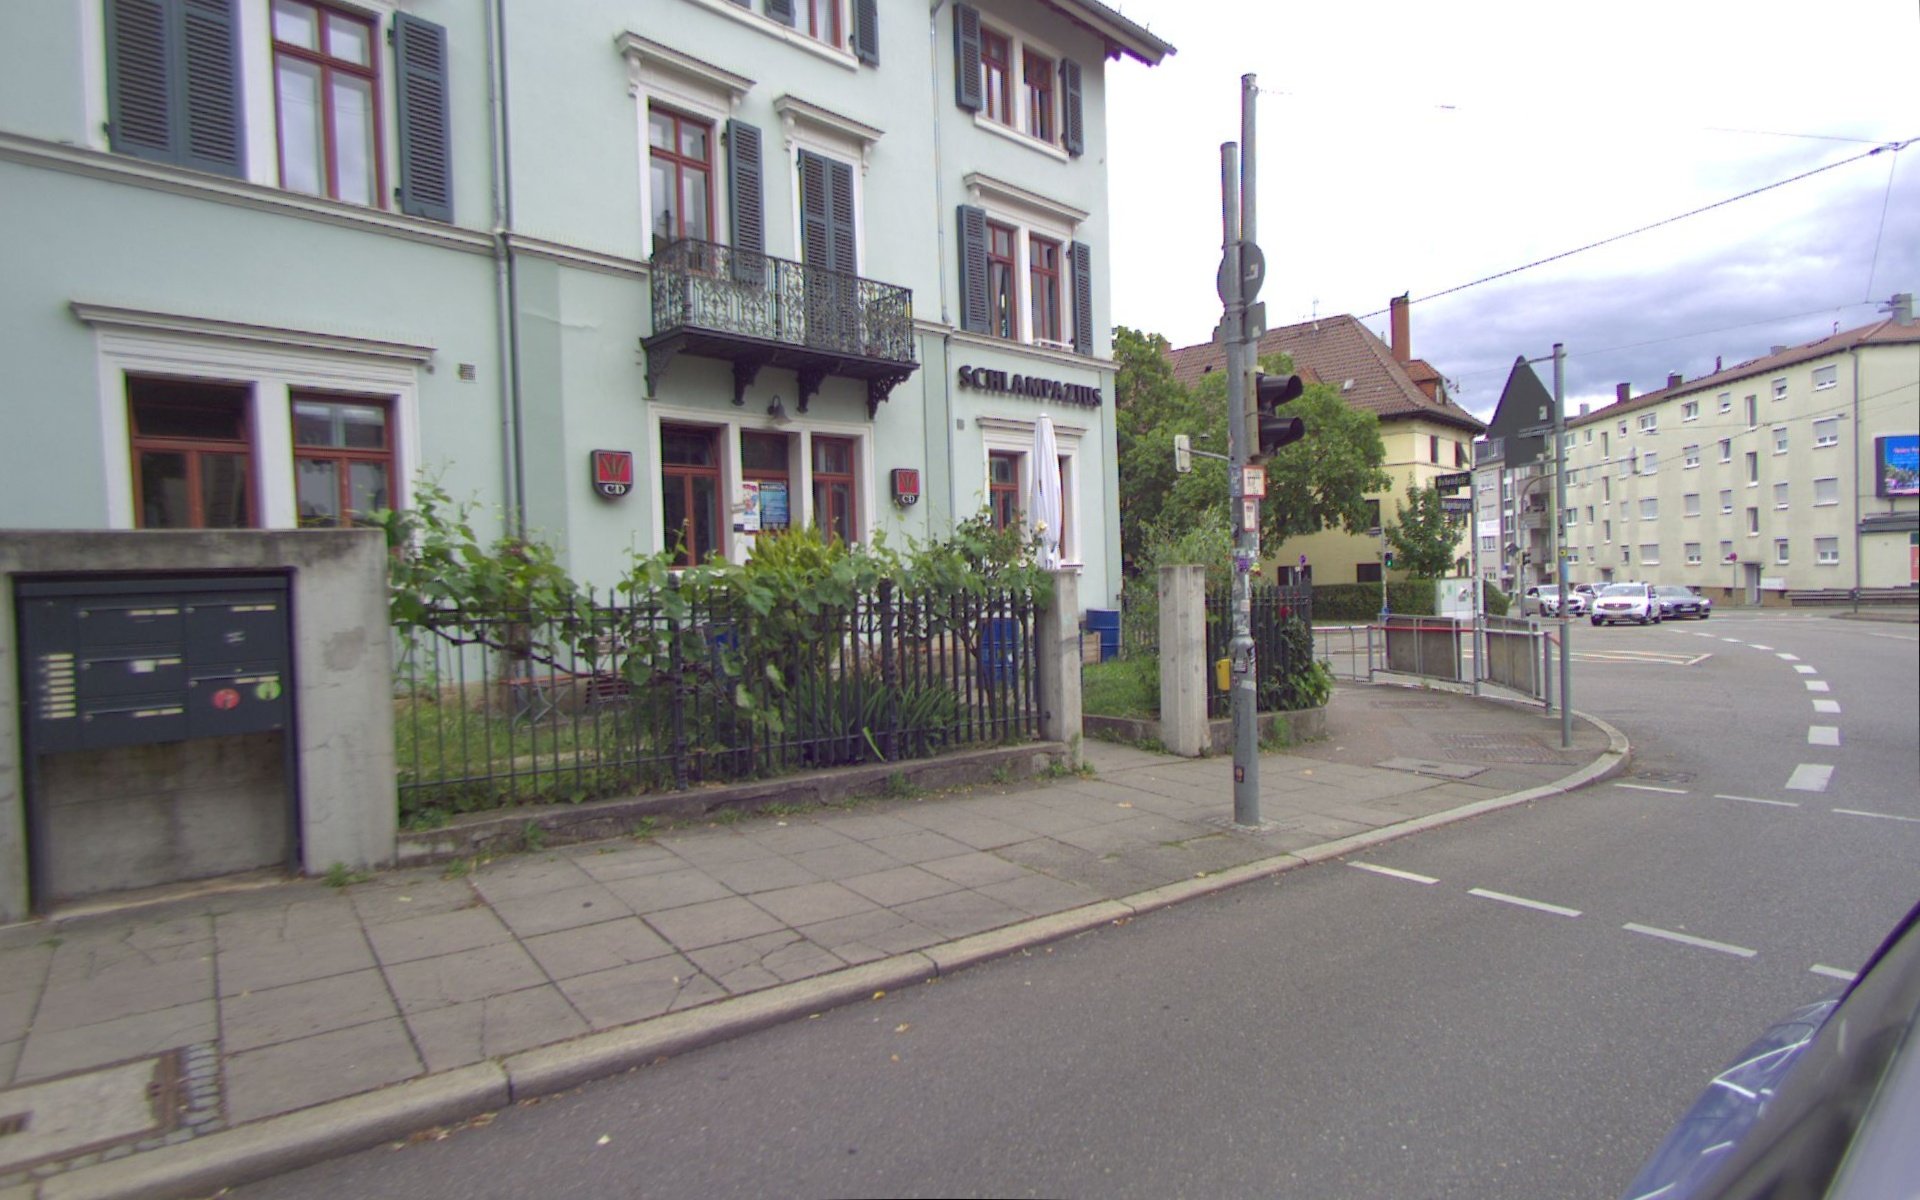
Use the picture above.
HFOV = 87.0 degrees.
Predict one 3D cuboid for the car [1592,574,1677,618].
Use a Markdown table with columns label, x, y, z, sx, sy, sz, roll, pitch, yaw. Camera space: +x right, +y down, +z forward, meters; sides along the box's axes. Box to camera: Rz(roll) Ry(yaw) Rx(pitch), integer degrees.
| label | x | y | z | sx | sy | sz | roll | pitch | yaw |
| --- | --- | --- | --- | --- | --- | --- | --- | --- | --- |
| car | 24.446 | -0.136 | 36.646 | 1.903 | 1.498 | 3.826 | -1 | -1 | 44 |

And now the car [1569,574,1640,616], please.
| label | x | y | z | sx | sy | sz | roll | pitch | yaw |
| --- | --- | --- | --- | --- | --- | --- | --- | --- | --- |
| car | 34.615 | -0.299 | 54.465 | 1.971 | 2.039 | 4.250 | -2 | 1 | 15 |

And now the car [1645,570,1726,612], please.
| label | x | y | z | sx | sy | sz | roll | pitch | yaw |
| --- | --- | --- | --- | --- | --- | --- | --- | --- | --- |
| car | 29.211 | -0.332 | 40.858 | 2.020 | 1.570 | 3.997 | -1 | -1 | 27 |

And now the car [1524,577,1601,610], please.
| label | x | y | z | sx | sy | sz | roll | pitch | yaw |
| --- | --- | --- | --- | --- | --- | --- | --- | --- | --- |
| car | 29.790 | -0.303 | 50.156 | 1.923 | 1.570 | 4.023 | -1 | 0 | 10 |
